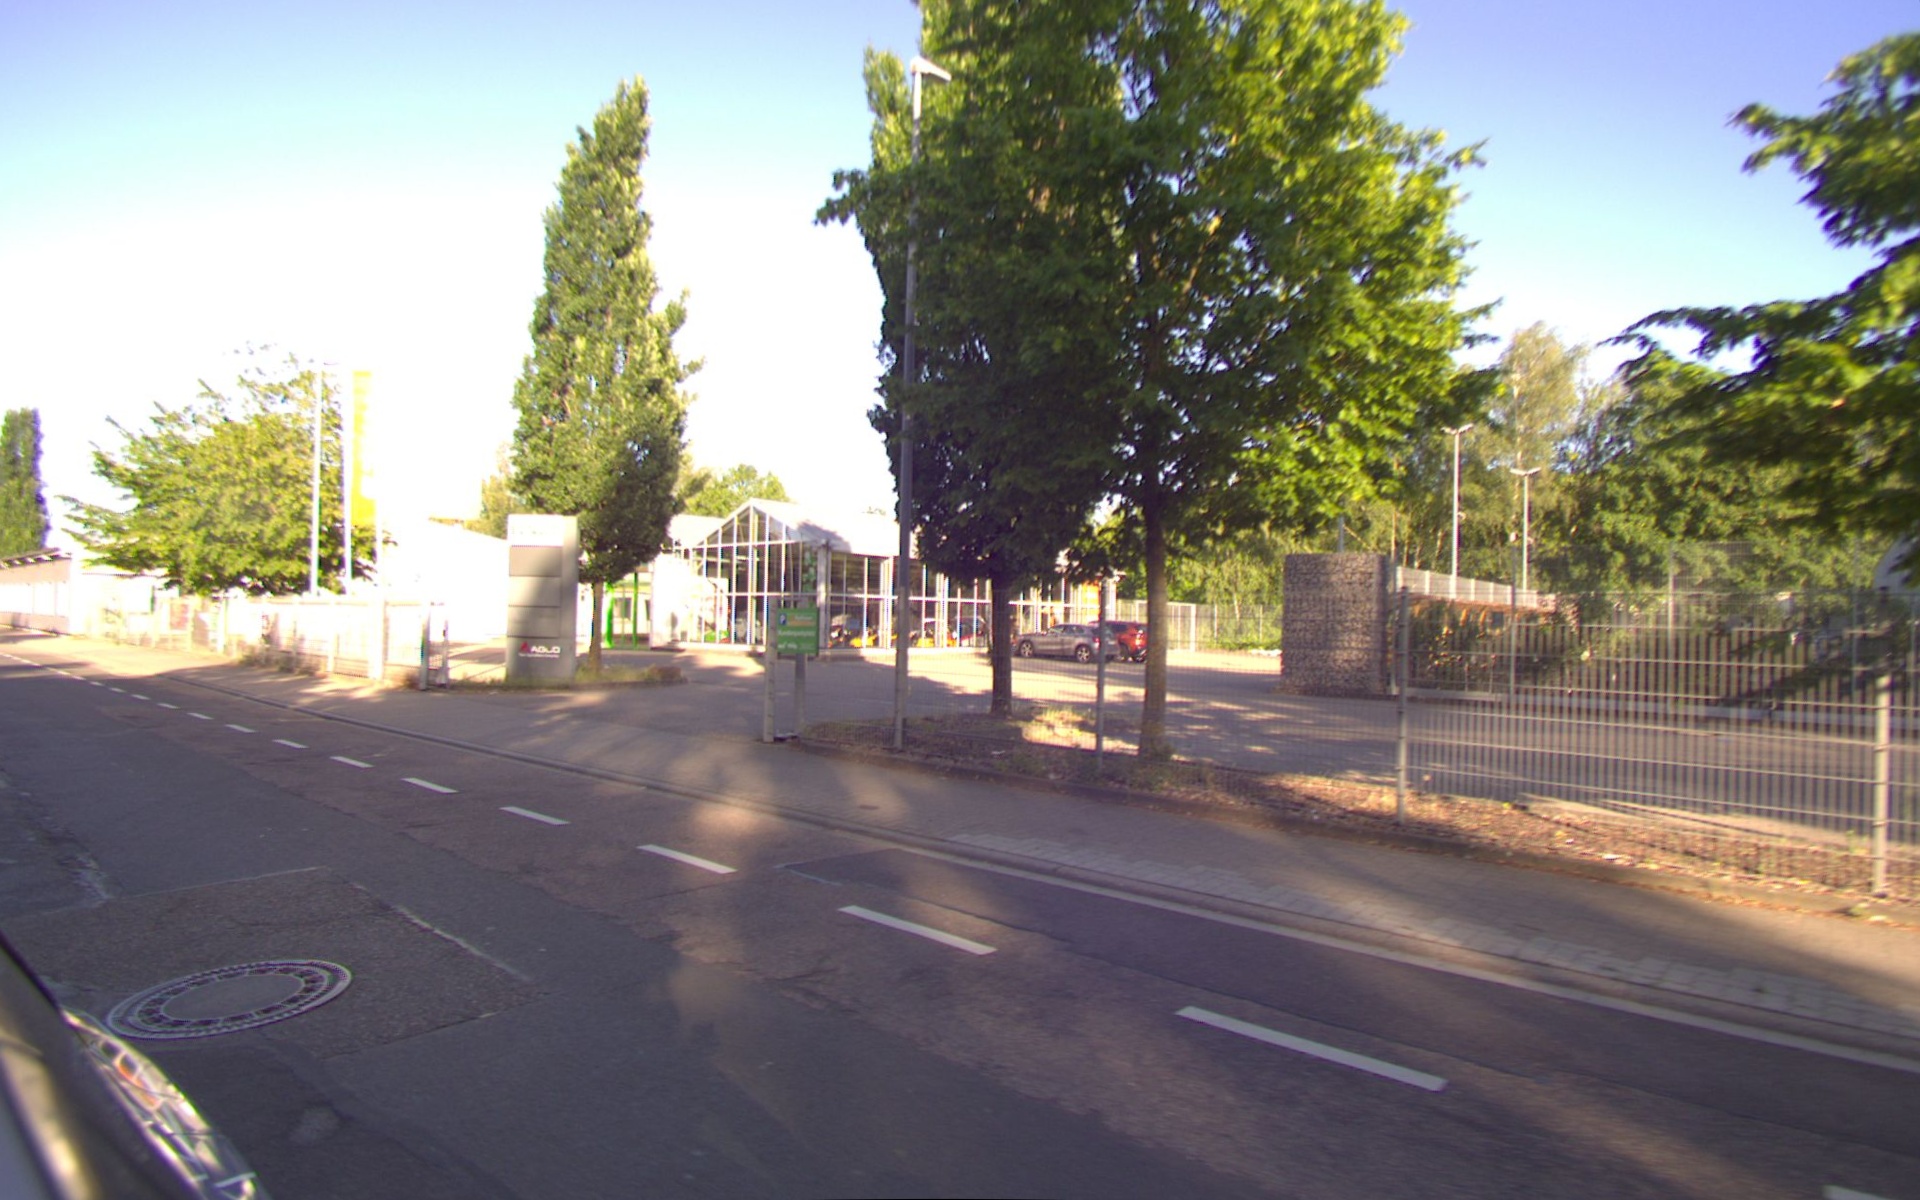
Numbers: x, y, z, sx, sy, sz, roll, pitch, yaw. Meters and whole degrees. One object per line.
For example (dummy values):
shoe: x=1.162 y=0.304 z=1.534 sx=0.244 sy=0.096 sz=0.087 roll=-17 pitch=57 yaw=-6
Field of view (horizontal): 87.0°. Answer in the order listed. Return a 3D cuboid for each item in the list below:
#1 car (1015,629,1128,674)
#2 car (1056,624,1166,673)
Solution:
car: x=4.297 y=1.954 z=39.435 sx=3.997 sy=1.521 sz=1.861 roll=2 pitch=0 yaw=40
car: x=6.108 y=1.930 z=41.120 sx=3.997 sy=1.752 sz=1.861 roll=2 pitch=0 yaw=40
